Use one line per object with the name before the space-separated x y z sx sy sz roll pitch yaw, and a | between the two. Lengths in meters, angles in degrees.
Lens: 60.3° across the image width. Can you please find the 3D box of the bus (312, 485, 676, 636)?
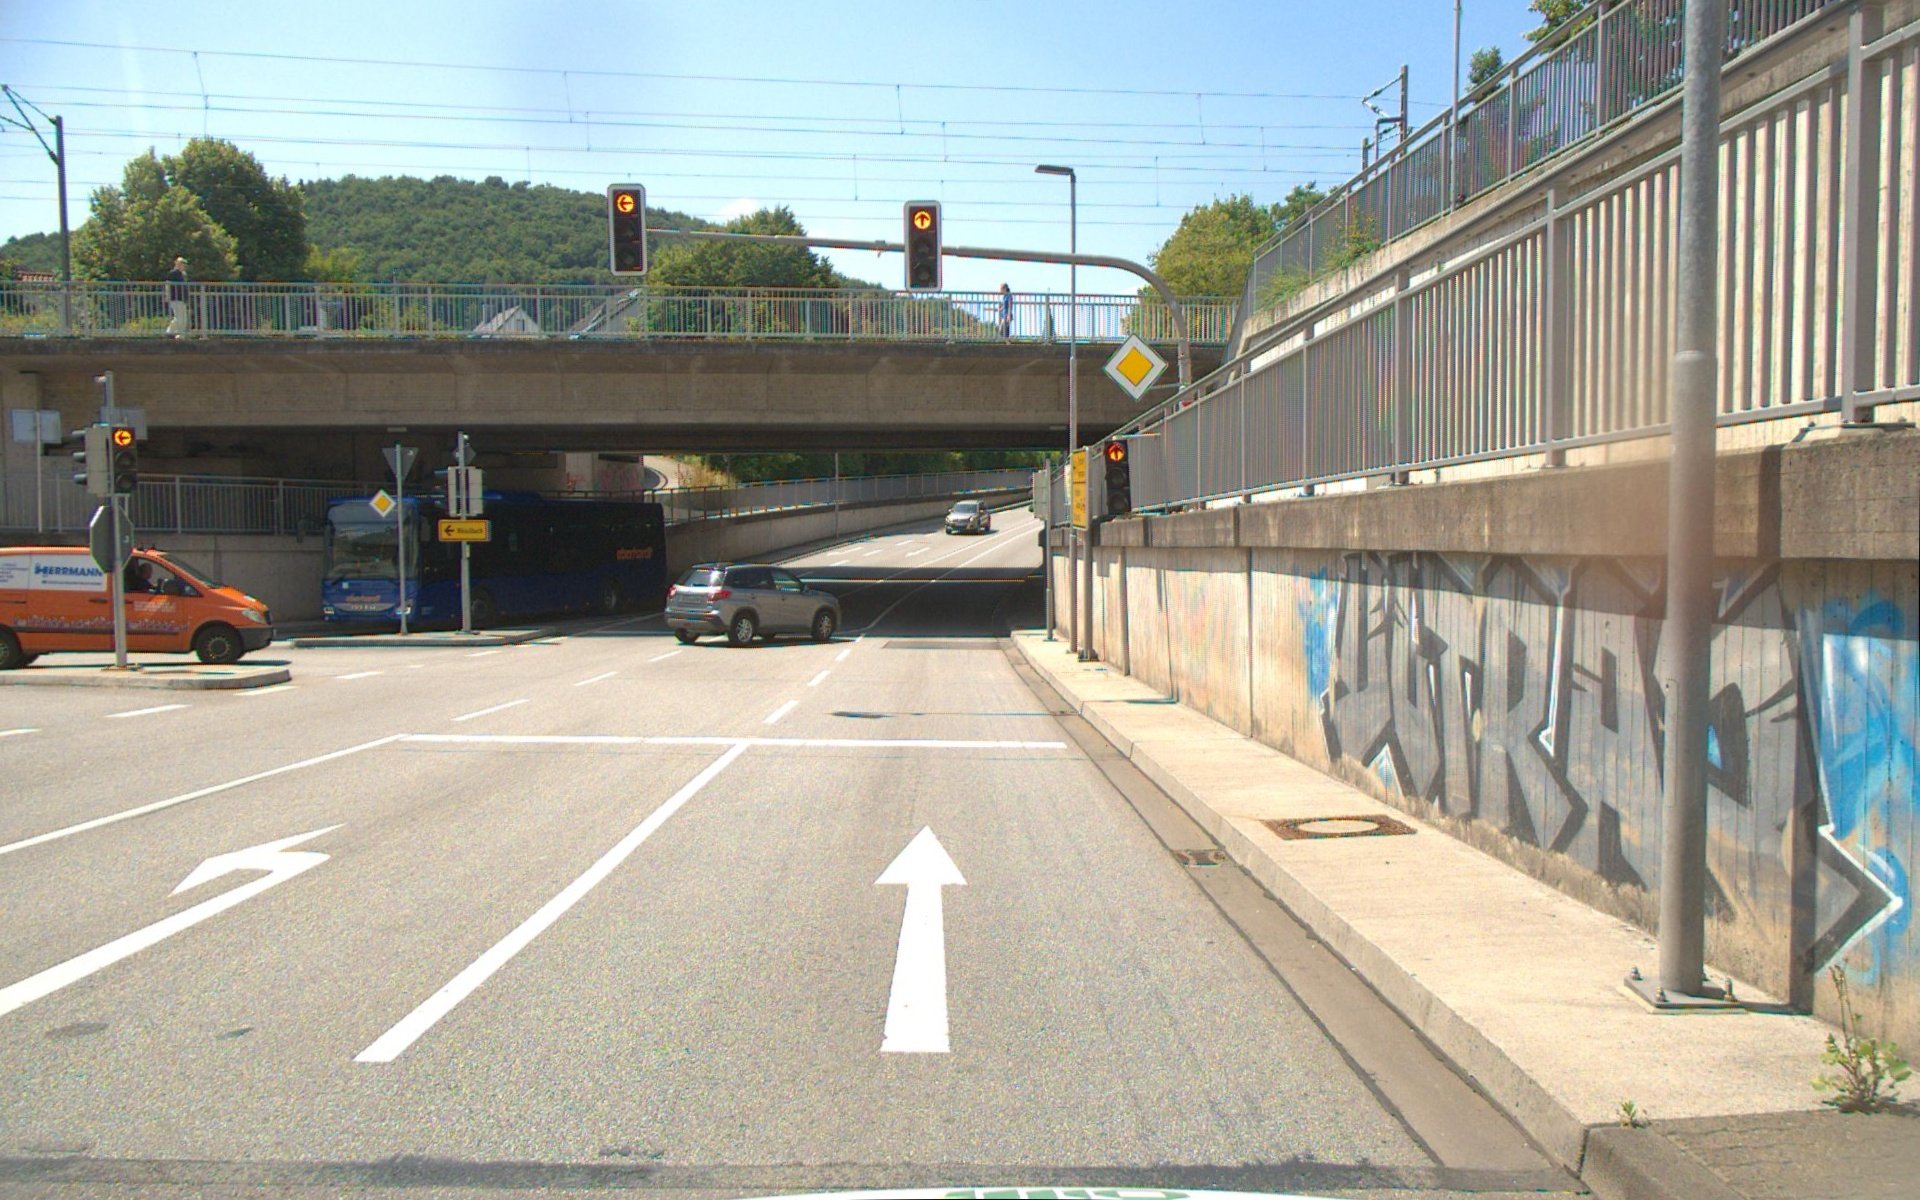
bus | -11.113 -1.163 41.612 2.526 3.227 12.387 1 3 17

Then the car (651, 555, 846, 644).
car | -4.301 -0.065 34.144 1.774 1.646 3.985 2 3 36

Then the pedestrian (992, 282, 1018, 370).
pedestrian | 1.118 -6.839 41.297 0.529 2.117 0.534 -1 1 -8

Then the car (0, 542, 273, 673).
car | -13.697 0.072 26.719 4.632 1.965 1.869 -1 3 -19

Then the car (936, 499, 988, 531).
car | 0.142 -4.533 88.286 1.951 1.655 4.005 1 3 12

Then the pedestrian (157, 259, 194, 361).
pedestrian | -16.998 -6.267 35.836 0.566 2.117 0.534 -1 1 -11
